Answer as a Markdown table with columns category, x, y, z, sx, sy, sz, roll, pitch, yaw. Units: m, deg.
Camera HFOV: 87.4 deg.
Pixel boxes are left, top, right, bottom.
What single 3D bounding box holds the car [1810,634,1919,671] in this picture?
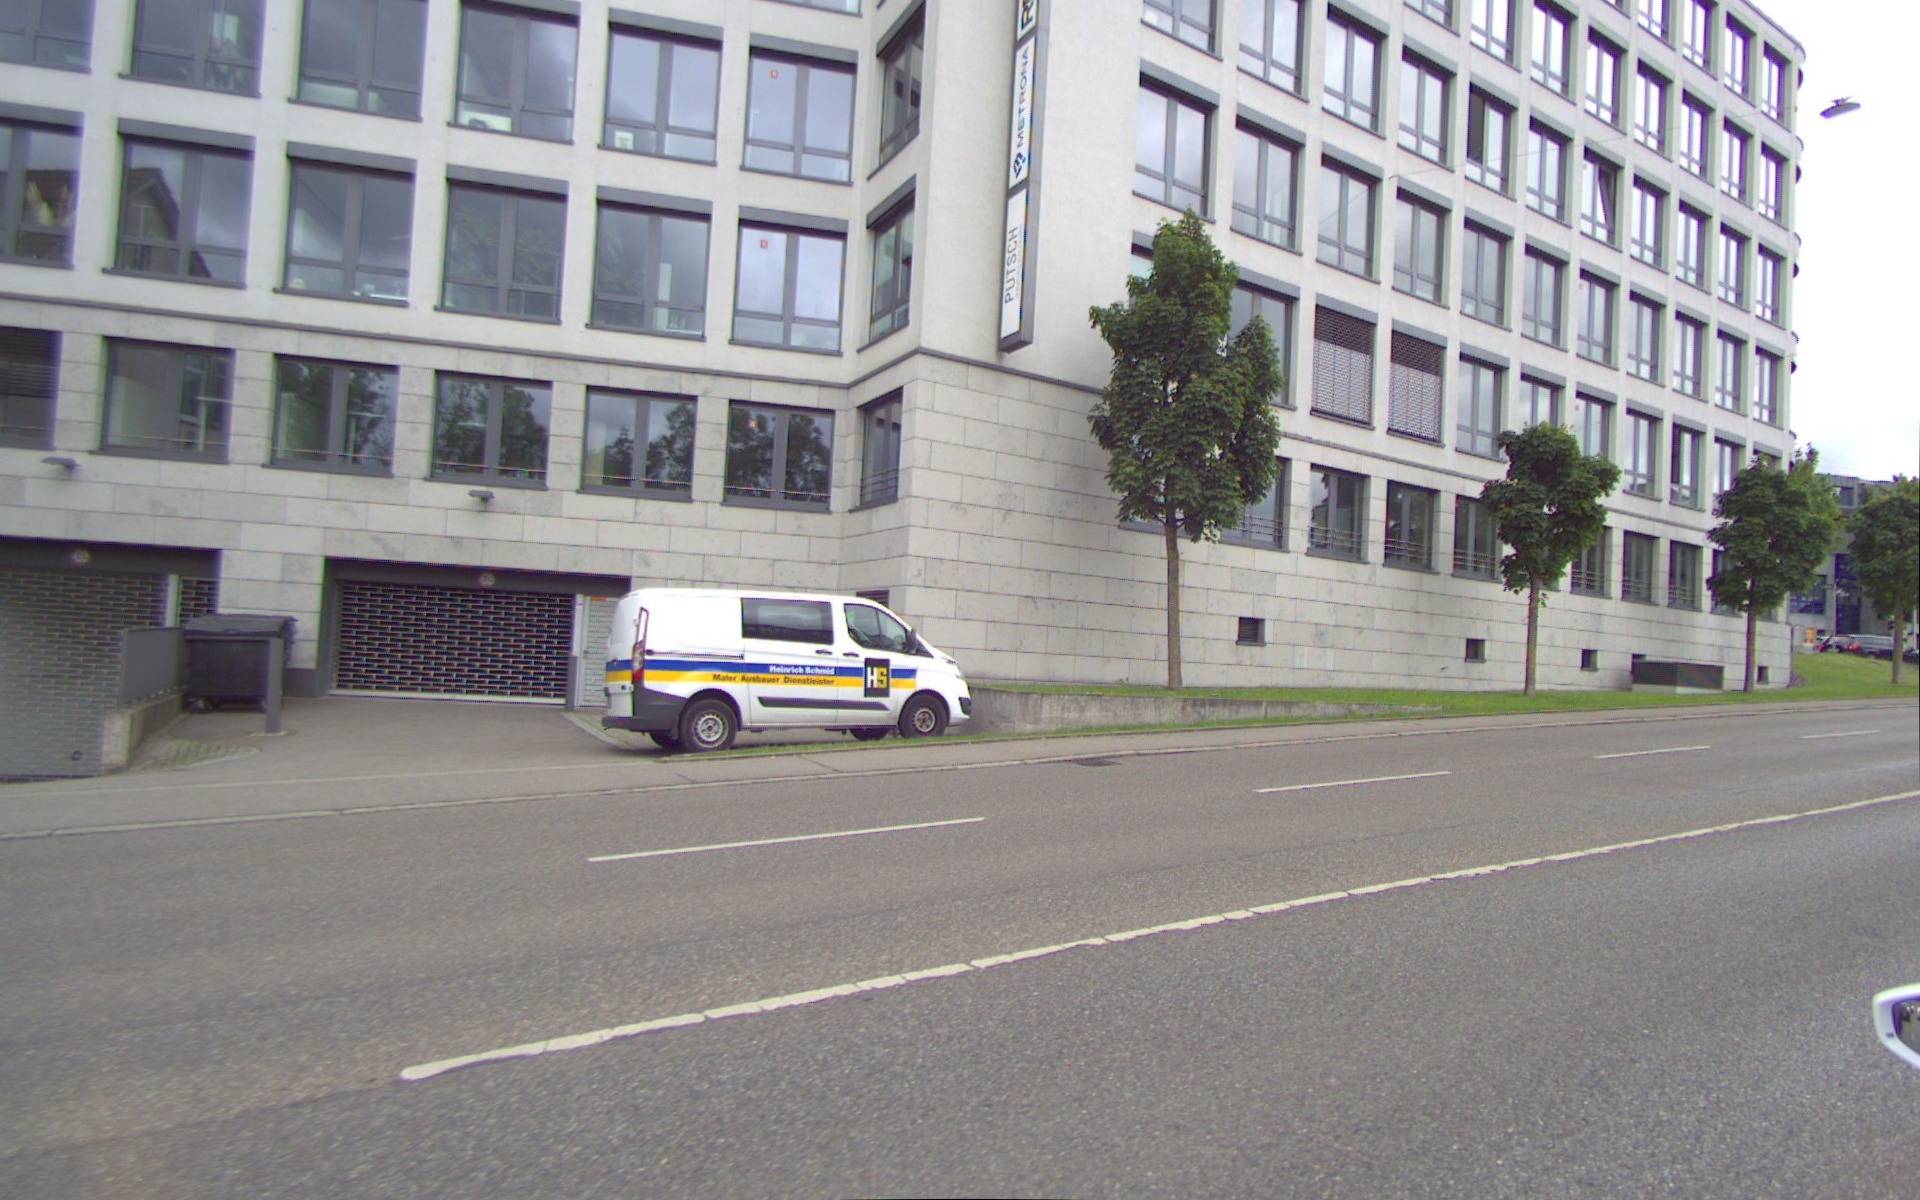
| category | x | y | z | sx | sy | sz | roll | pitch | yaw |
| --- | --- | --- | --- | --- | --- | --- | --- | --- | --- |
| car | 41.271 | 2.368 | 45.359 | 4.356 | 1.483 | 1.780 | 2 | 1 | -5 |

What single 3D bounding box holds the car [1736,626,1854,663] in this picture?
| category | x | y | z | sx | sy | sz | roll | pitch | yaw |
| --- | --- | --- | --- | --- | --- | --- | --- | --- | --- |
| car | 40.698 | 2.169 | 49.012 | 4.356 | 1.482 | 1.780 | 3 | 1 | -5 |

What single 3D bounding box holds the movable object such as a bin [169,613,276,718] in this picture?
| category | x | y | z | sx | sy | sz | roll | pitch | yaw |
| --- | --- | --- | --- | --- | --- | --- | --- | --- | --- |
| movable object such as a bin | -11.608 | 1.009 | 15.864 | 1.275 | 1.517 | 1.077 | 1 | 2 | -34 |

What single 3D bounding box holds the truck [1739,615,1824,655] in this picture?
| category | x | y | z | sx | sy | sz | roll | pitch | yaw |
| --- | --- | --- | --- | --- | --- | --- | --- | --- | --- |
| truck | 53.353 | 2.241 | 65.311 | 3.923 | 2.419 | 1.999 | 2 | 1 | -4 |

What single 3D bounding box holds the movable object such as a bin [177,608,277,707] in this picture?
| category | x | y | z | sx | sy | sz | roll | pitch | yaw |
| --- | --- | --- | --- | --- | --- | --- | --- | --- | --- |
| movable object such as a bin | -12.266 | 0.937 | 16.853 | 1.275 | 1.517 | 1.077 | 1 | 2 | -34 |

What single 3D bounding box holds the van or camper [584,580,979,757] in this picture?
| category | x | y | z | sx | sy | sz | roll | pitch | yaw |
| --- | --- | --- | --- | --- | --- | --- | --- | --- | --- |
| van or camper | -2.319 | 0.877 | 13.401 | 4.814 | 1.993 | 2.051 | 2 | -3 | -30 |
